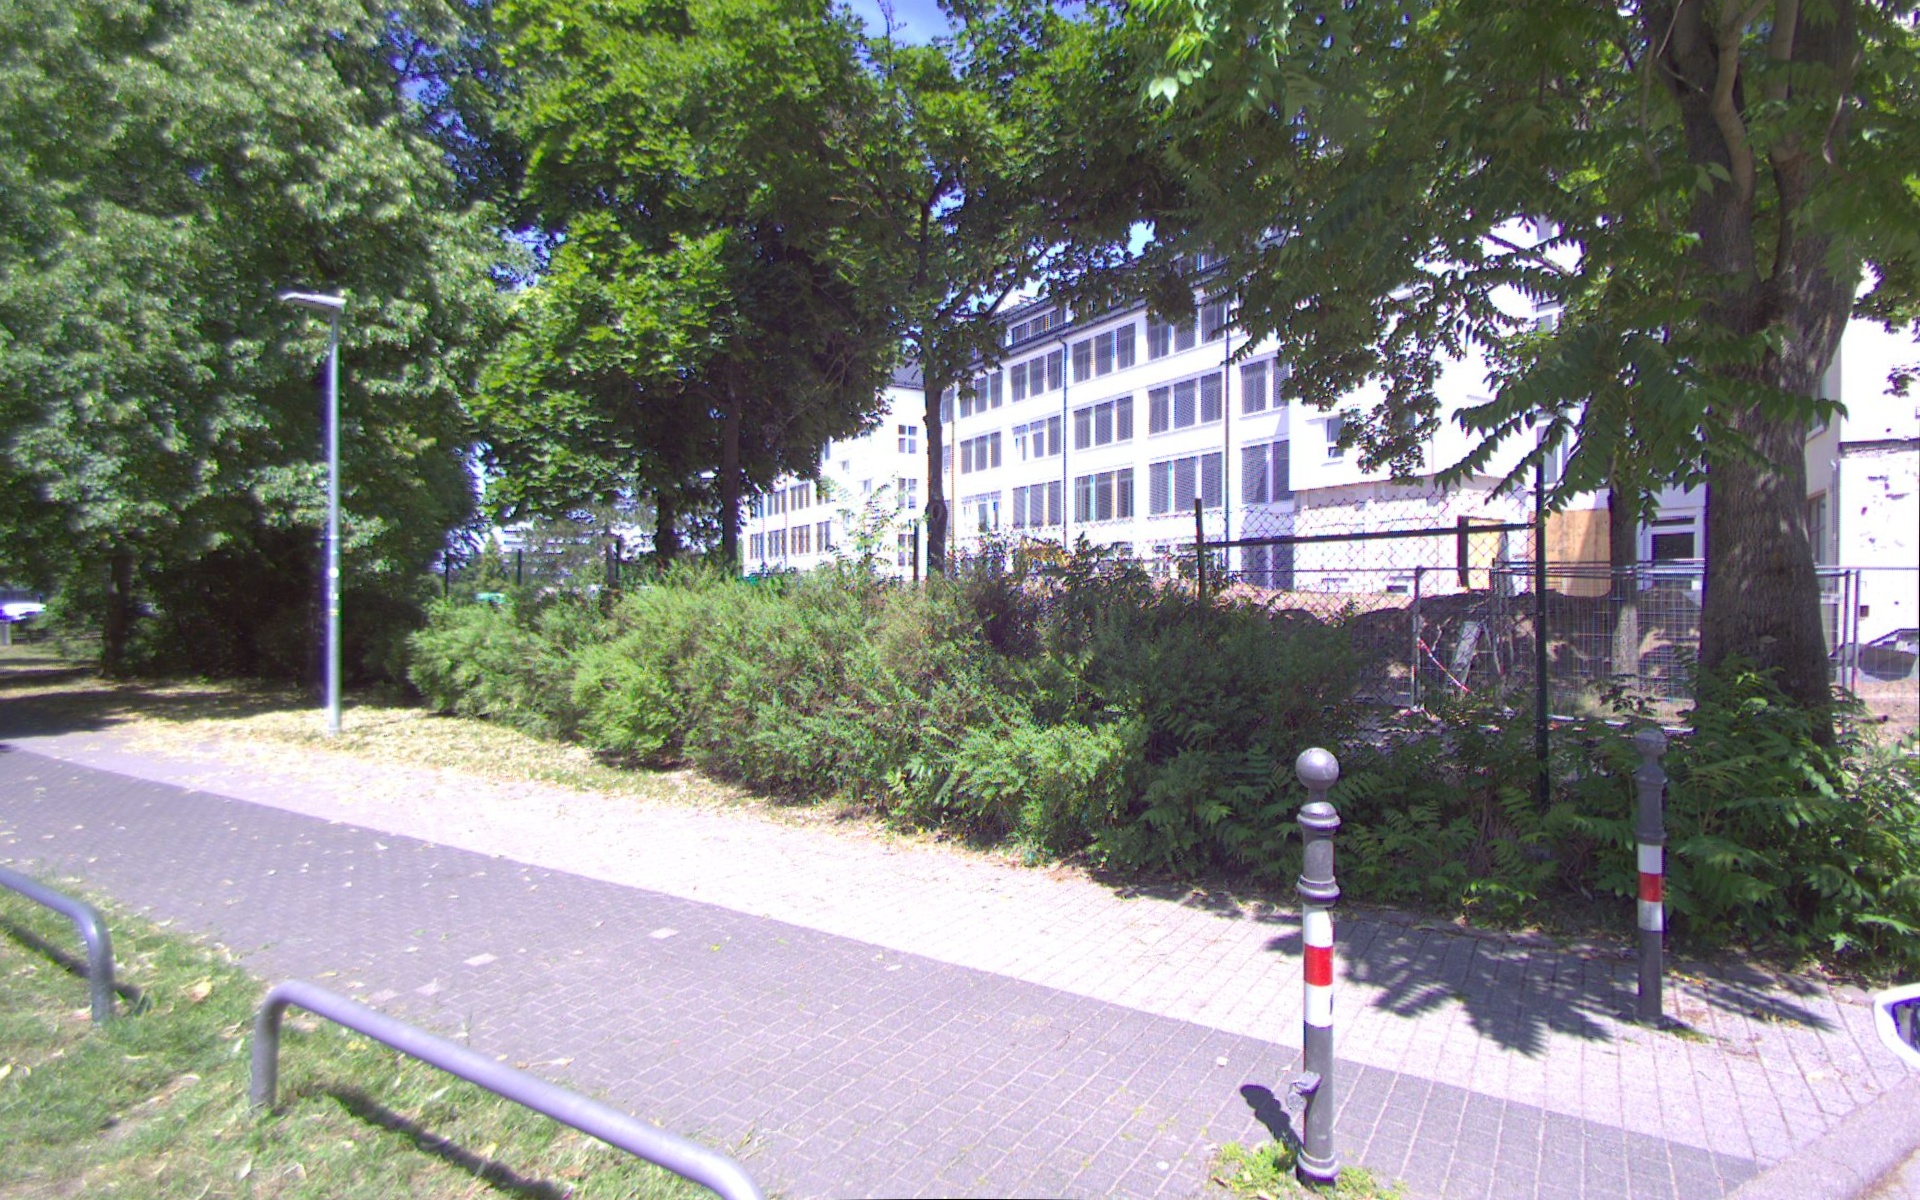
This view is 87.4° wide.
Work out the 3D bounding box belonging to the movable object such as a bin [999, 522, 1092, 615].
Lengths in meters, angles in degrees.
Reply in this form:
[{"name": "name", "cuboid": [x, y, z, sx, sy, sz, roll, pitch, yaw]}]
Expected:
[{"name": "movable object such as a bin", "cuboid": [4.199, -1.482, 50.661, 1.974, 4.430, 5.684, 1, 0, -27]}]
